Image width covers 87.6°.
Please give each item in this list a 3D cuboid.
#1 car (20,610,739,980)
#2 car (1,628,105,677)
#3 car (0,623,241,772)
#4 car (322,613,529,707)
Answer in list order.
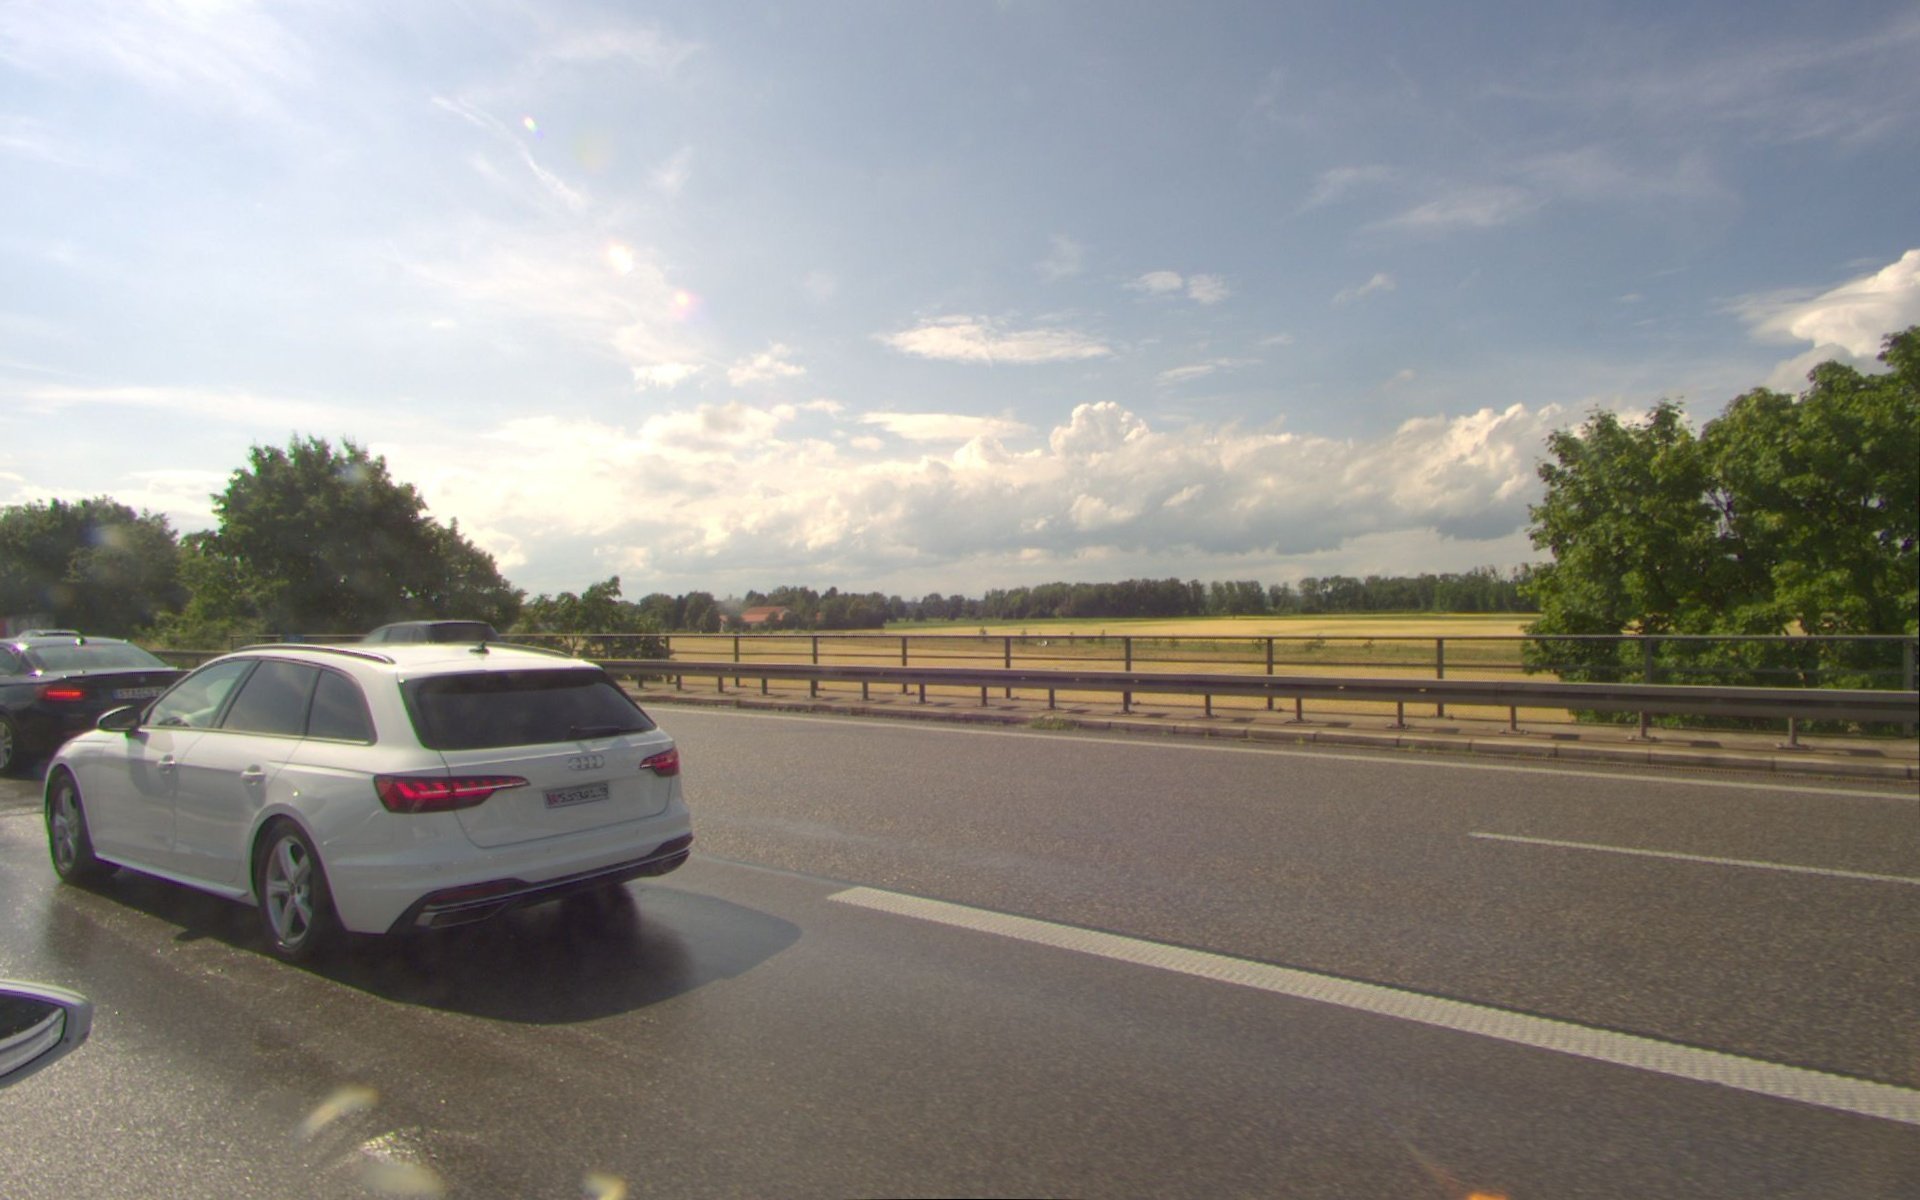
[{"bbox_3d":[-3.563,0.865,5.900,4.447,1.443,1.824,-2,-3,32],"label":"car"},{"bbox_3d":[-31.459,1.780,34.715,3.947,1.588,1.844,-1,-2,35],"label":"car"},{"bbox_3d":[-10.808,1.048,11.787,4.183,1.483,1.850,-1,-1,22],"label":"car"},{"bbox_3d":[-10.408,1.104,19.406,4.305,1.641,1.816,-1,-2,35],"label":"car"}]
